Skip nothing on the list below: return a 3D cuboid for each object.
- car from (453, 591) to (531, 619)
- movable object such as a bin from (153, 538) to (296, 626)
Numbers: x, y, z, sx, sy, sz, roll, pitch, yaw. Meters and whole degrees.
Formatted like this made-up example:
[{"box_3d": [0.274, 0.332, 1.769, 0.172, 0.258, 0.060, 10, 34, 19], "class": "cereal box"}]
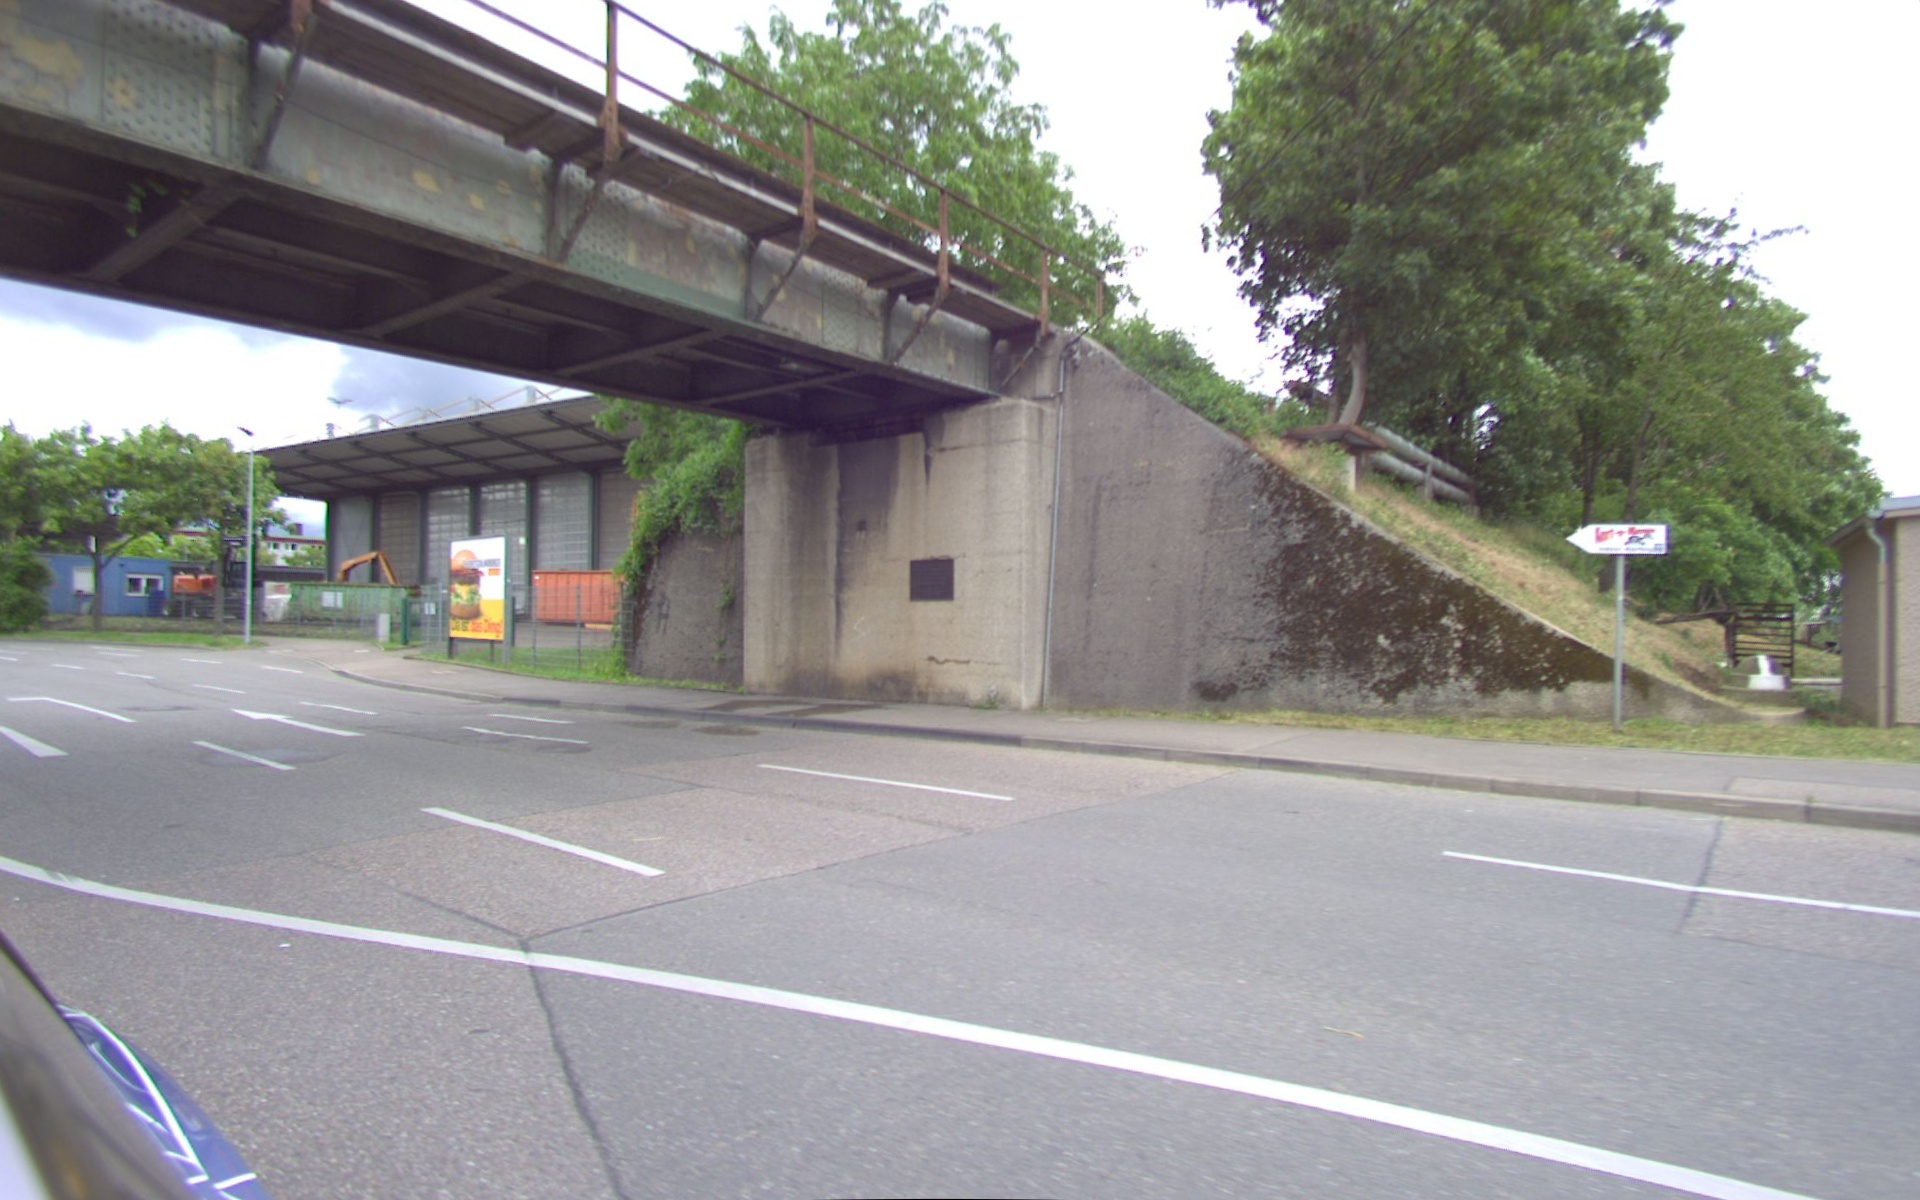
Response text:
[{"box_3d": [-24.366, 0.282, 52.637, 3.985, 1.384, 1.720, 0, -2, 31], "class": "car"}, {"box_3d": [-36.498, -0.799, 50.242, 6.510, 4.122, 2.712, -1, -2, 23], "class": "movable object such as a bin"}]
